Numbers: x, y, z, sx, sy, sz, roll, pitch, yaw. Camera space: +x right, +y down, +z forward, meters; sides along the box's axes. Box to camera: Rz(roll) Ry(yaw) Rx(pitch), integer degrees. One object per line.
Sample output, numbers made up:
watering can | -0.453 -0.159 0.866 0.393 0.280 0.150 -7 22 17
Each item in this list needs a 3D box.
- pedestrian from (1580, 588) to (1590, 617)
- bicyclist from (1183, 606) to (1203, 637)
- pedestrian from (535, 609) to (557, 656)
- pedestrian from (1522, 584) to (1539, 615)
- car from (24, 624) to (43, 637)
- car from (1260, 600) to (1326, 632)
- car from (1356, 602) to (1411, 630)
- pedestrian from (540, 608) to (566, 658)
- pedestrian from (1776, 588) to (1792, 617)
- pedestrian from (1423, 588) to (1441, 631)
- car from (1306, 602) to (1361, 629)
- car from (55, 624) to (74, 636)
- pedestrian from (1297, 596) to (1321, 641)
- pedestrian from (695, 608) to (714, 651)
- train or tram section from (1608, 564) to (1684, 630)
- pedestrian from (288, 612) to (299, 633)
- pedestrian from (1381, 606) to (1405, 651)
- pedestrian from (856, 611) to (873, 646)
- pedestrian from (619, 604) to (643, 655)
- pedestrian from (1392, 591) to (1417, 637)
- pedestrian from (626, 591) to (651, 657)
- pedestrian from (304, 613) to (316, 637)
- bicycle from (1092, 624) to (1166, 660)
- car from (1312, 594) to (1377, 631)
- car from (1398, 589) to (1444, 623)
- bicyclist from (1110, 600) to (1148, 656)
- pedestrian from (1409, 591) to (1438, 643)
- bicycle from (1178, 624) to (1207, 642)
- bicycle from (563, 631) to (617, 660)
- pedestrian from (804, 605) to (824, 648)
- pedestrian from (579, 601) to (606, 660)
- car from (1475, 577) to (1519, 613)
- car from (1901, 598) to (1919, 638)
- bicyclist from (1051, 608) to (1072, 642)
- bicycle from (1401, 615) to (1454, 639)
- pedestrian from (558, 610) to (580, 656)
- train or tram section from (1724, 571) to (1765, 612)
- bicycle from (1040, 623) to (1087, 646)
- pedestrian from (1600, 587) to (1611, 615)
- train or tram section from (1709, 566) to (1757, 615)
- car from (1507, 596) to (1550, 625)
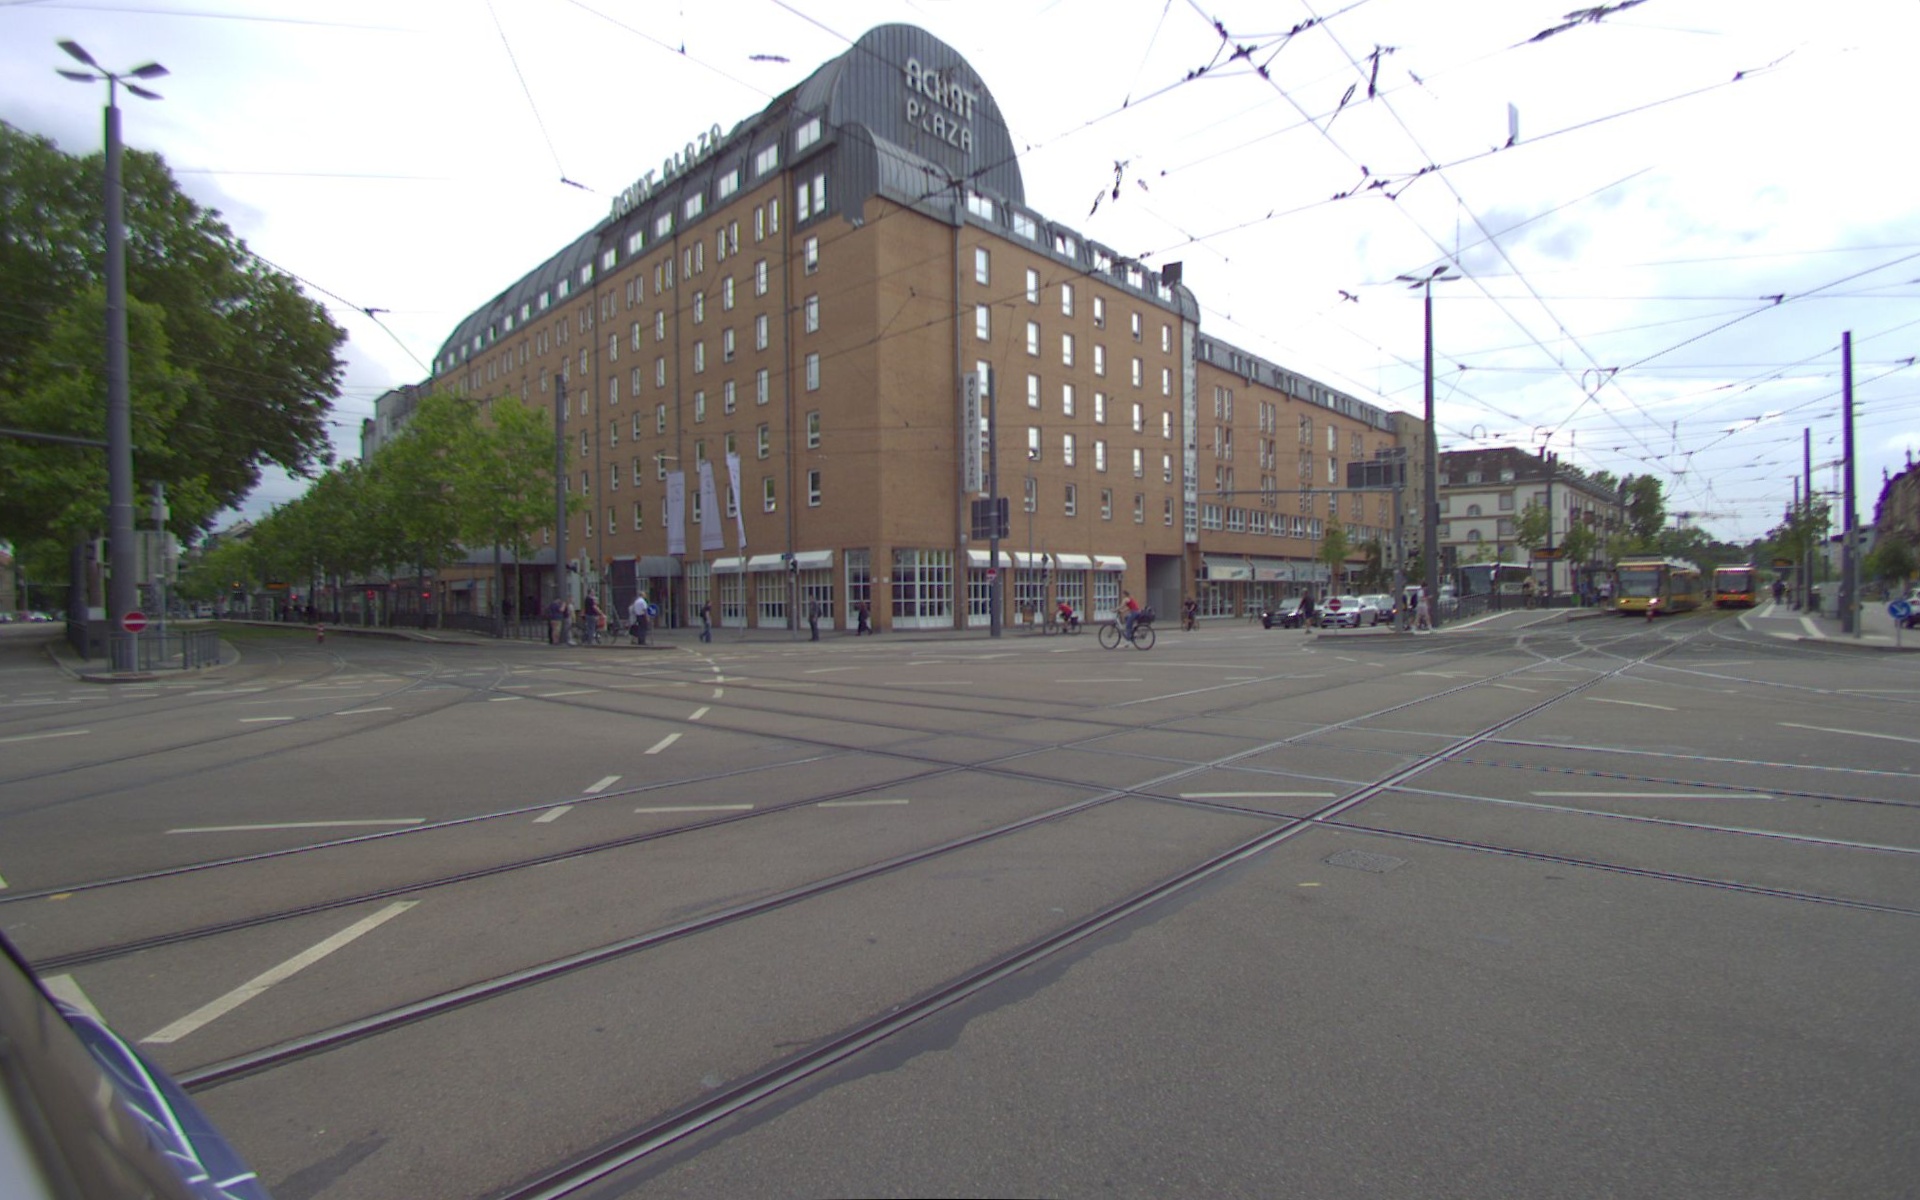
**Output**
pedestrian | 38.150 0.170 61.776 0.542 1.745 0.487 -1 0 33
bicyclist | 11.466 1.061 49.852 0.636 1.512 0.854 -1 0 40
pedestrian | -15.151 1.184 37.040 0.533 1.719 0.557 -1 0 34
pedestrian | 28.670 -0.021 50.857 0.654 1.548 0.486 -1 0 37
car | -138.457 4.553 151.240 3.997 1.722 1.646 -1 0 41
car | 16.662 0.794 50.549 1.799 1.490 3.947 -2 -1 39
car | 22.669 0.817 54.111 1.701 1.453 3.948 -1 0 39
pedestrian | -14.238 1.135 35.420 0.533 1.719 0.677 -1 0 34
pedestrian | 58.521 0.155 71.887 0.780 2.029 1.213 -1 -1 41
pedestrian | 19.147 0.382 41.029 0.576 1.745 0.625 -1 0 31
car | 20.723 0.837 56.097 1.701 1.453 3.948 -1 0 39
car | -135.808 4.543 153.398 3.997 1.722 1.646 -1 0 41
pedestrian | 13.722 0.714 39.815 0.749 1.745 0.571 -1 -1 36
pedestrian | -10.320 1.196 40.859 0.535 1.719 0.555 -1 -1 45
train or tram section | 39.499 -0.152 58.104 2.575 3.477 9.479 -2 -1 40
pedestrian | -54.386 1.848 82.602 0.638 1.719 0.625 0 -1 -40
pedestrian | 16.894 1.109 39.465 0.749 1.745 0.571 -1 0 36
pedestrian | -4.096 1.225 43.529 0.642 1.518 0.533 0 0 8
pedestrian | -11.148 0.991 34.306 0.577 1.719 0.557 -1 0 34
pedestrian | 16.821 0.531 38.316 0.749 1.745 0.571 -1 0 36
pedestrian | -10.593 0.782 33.359 0.533 2.146 0.557 -1 0 34
pedestrian | -45.961 1.773 71.565 0.639 1.719 0.625 0 -1 -43
bicycle | 4.598 1.131 27.602 1.890 0.943 0.651 -1 0 38
car | 18.744 0.586 49.221 1.799 1.696 3.947 -1 0 39
car | 31.358 0.395 68.712 1.701 2.247 4.772 -1 0 39
bicyclist | 4.605 0.751 27.596 0.816 1.512 0.643 -1 0 38
pedestrian | 15.872 0.574 34.669 0.750 1.745 0.570 -1 0 40
bicycle | 11.460 1.616 49.827 0.639 0.787 1.773 -1 0 39
bicycle | -12.579 1.538 34.430 0.500 0.895 1.687 -1 0 45
pedestrian | -5.949 1.077 41.237 0.535 1.719 0.556 -1 -1 42
pedestrian | -12.360 1.003 34.061 0.534 1.966 0.684 -1 0 40
car | 36.686 -0.302 69.076 1.700 2.337 5.017 -2 -1 39
car | 37.237 0.661 38.418 1.932 1.442 4.246 -1 0 40
bicyclist | 4.596 1.116 45.853 0.858 1.512 0.633 0 0 17
bicycle | 17.993 1.029 38.940 1.791 0.895 0.474 -1 0 41
pedestrian | -14.867 1.231 38.465 0.533 1.719 0.557 -1 0 34
train or tram section | 70.689 -0.717 91.134 2.428 3.459 10.381 -2 -1 40
bicycle | 4.685 1.572 45.828 2.042 1.016 0.637 0 0 16
pedestrian | 40.058 0.080 62.818 0.492 1.745 0.537 -1 -1 39
train or tram section | 59.208 -0.690 77.409 2.450 3.477 9.479 -2 -1 40
car | 43.323 0.801 77.085 1.999 2.184 4.510 -2 -1 40
